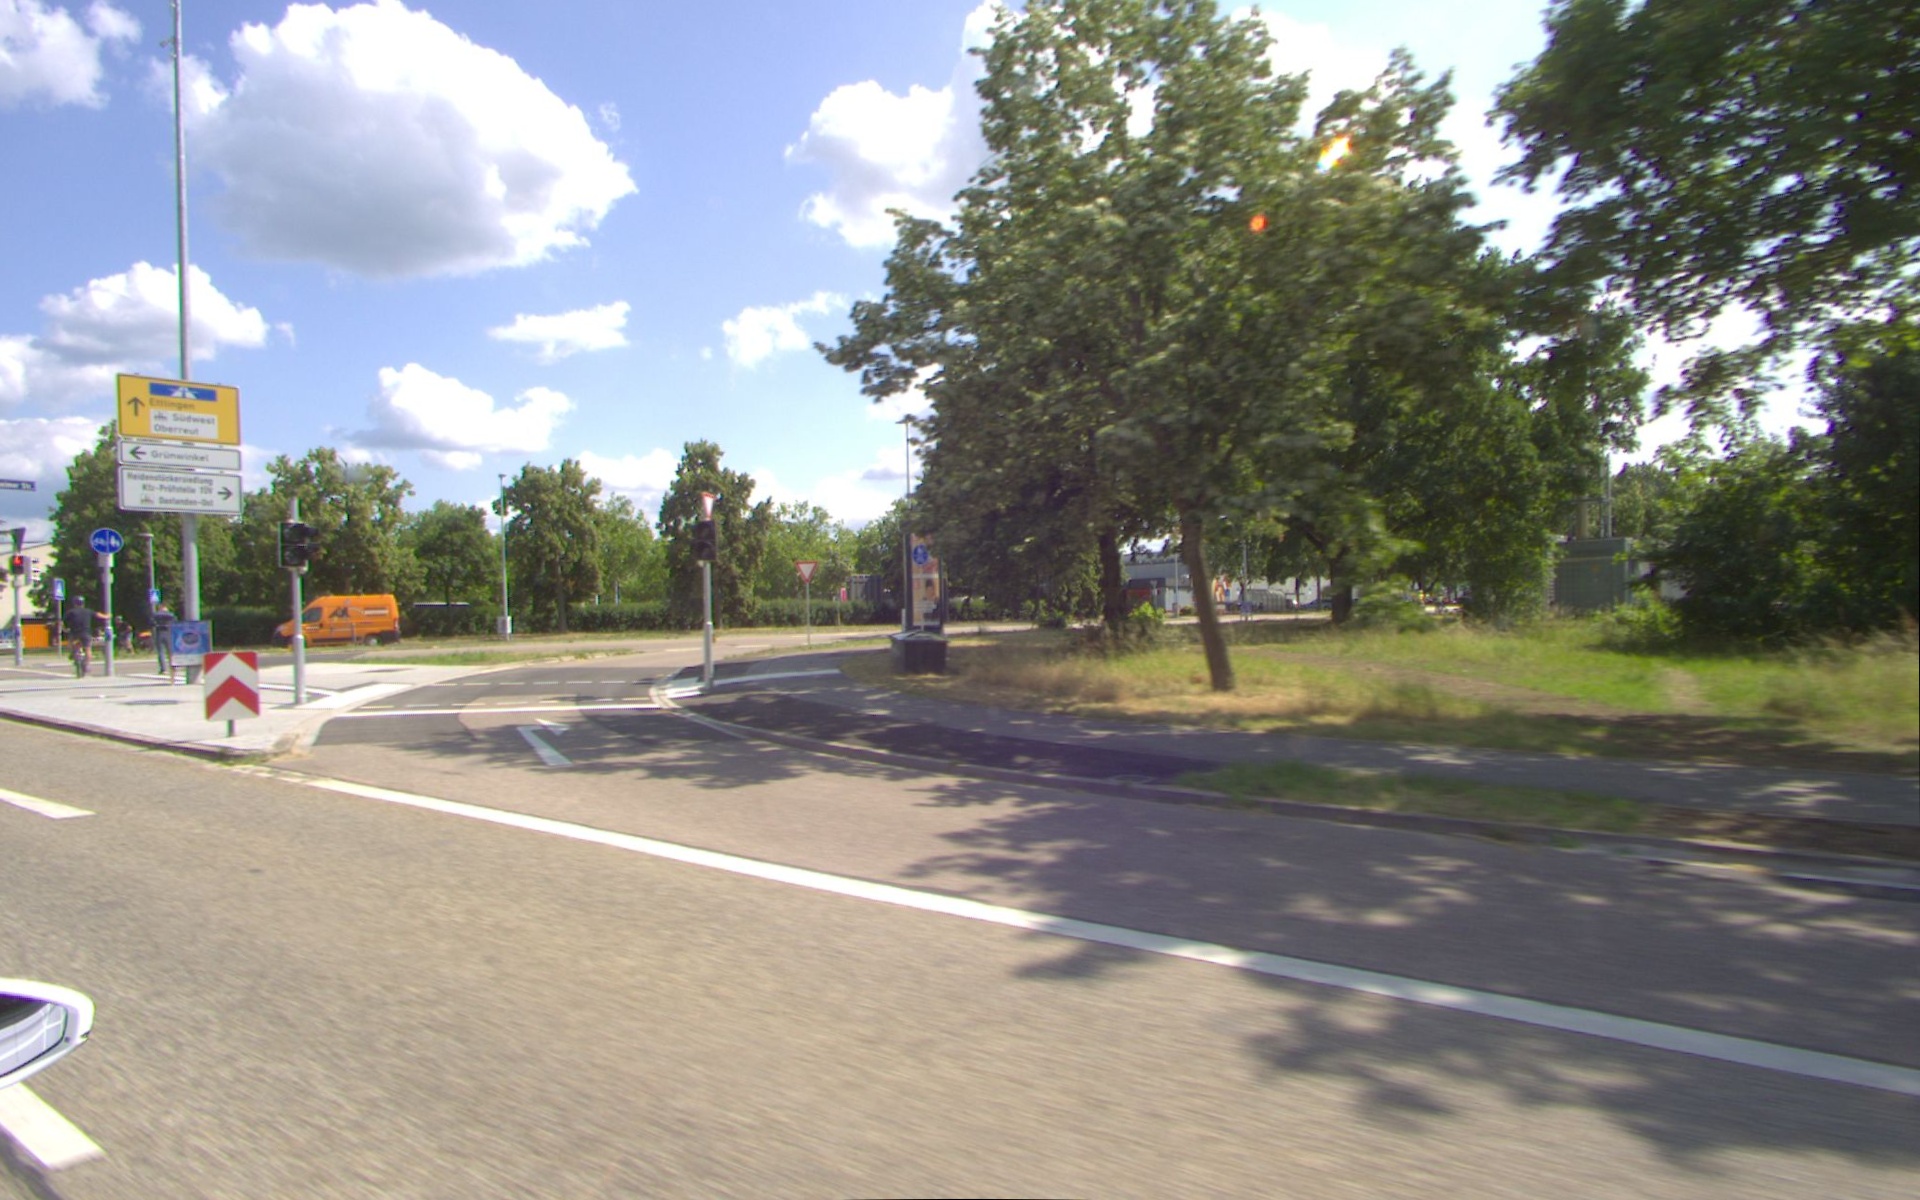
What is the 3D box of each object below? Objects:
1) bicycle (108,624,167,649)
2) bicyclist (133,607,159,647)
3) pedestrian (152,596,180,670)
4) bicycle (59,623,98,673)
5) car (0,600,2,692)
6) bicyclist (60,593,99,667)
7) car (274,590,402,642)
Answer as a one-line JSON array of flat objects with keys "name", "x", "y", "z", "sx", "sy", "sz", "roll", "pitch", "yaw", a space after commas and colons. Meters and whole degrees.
[{"name": "bicycle", "x": -38.088, "y": 1.684, "z": 46.402, "sx": 0.676, "sy": 1.108, "sz": 1.991, "roll": -1, "pitch": -1, "yaw": 35}, {"name": "bicyclist", "x": -37.917, "y": 1.255, "z": 46.642, "sx": 0.676, "sy": 1.828, "sz": 0.784, "roll": -1, "pitch": 0, "yaw": 35}, {"name": "pedestrian", "x": -19.627, "y": 0.812, "z": 24.753, "sx": 0.477, "sy": 1.801, "sz": 0.462, "roll": -2, "pitch": -2, "yaw": 44}, {"name": "bicycle", "x": -20.583, "y": 1.125, "z": 23.389, "sx": 0.643, "sy": 1.121, "sz": 1.911, "roll": 2, "pitch": -3, "yaw": -41}, {"name": "car", "x": -13.430, "y": 0.806, "z": 12.092, "sx": 3.944, "sy": 1.571, "sz": 1.797, "roll": -2, "pitch": -3, "yaw": 32}, {"name": "bicyclist", "x": -20.454, "y": 0.702, "z": 23.255, "sx": 0.643, "sy": 1.682, "sz": 0.644, "roll": 1, "pitch": -2, "yaw": -42}, {"name": "car", "x": -28.352, "y": 0.806, "z": 45.863, "sx": 4.787, "sy": 2.253, "sz": 2.203, "roll": 1, "pitch": -2, "yaw": -28}]
